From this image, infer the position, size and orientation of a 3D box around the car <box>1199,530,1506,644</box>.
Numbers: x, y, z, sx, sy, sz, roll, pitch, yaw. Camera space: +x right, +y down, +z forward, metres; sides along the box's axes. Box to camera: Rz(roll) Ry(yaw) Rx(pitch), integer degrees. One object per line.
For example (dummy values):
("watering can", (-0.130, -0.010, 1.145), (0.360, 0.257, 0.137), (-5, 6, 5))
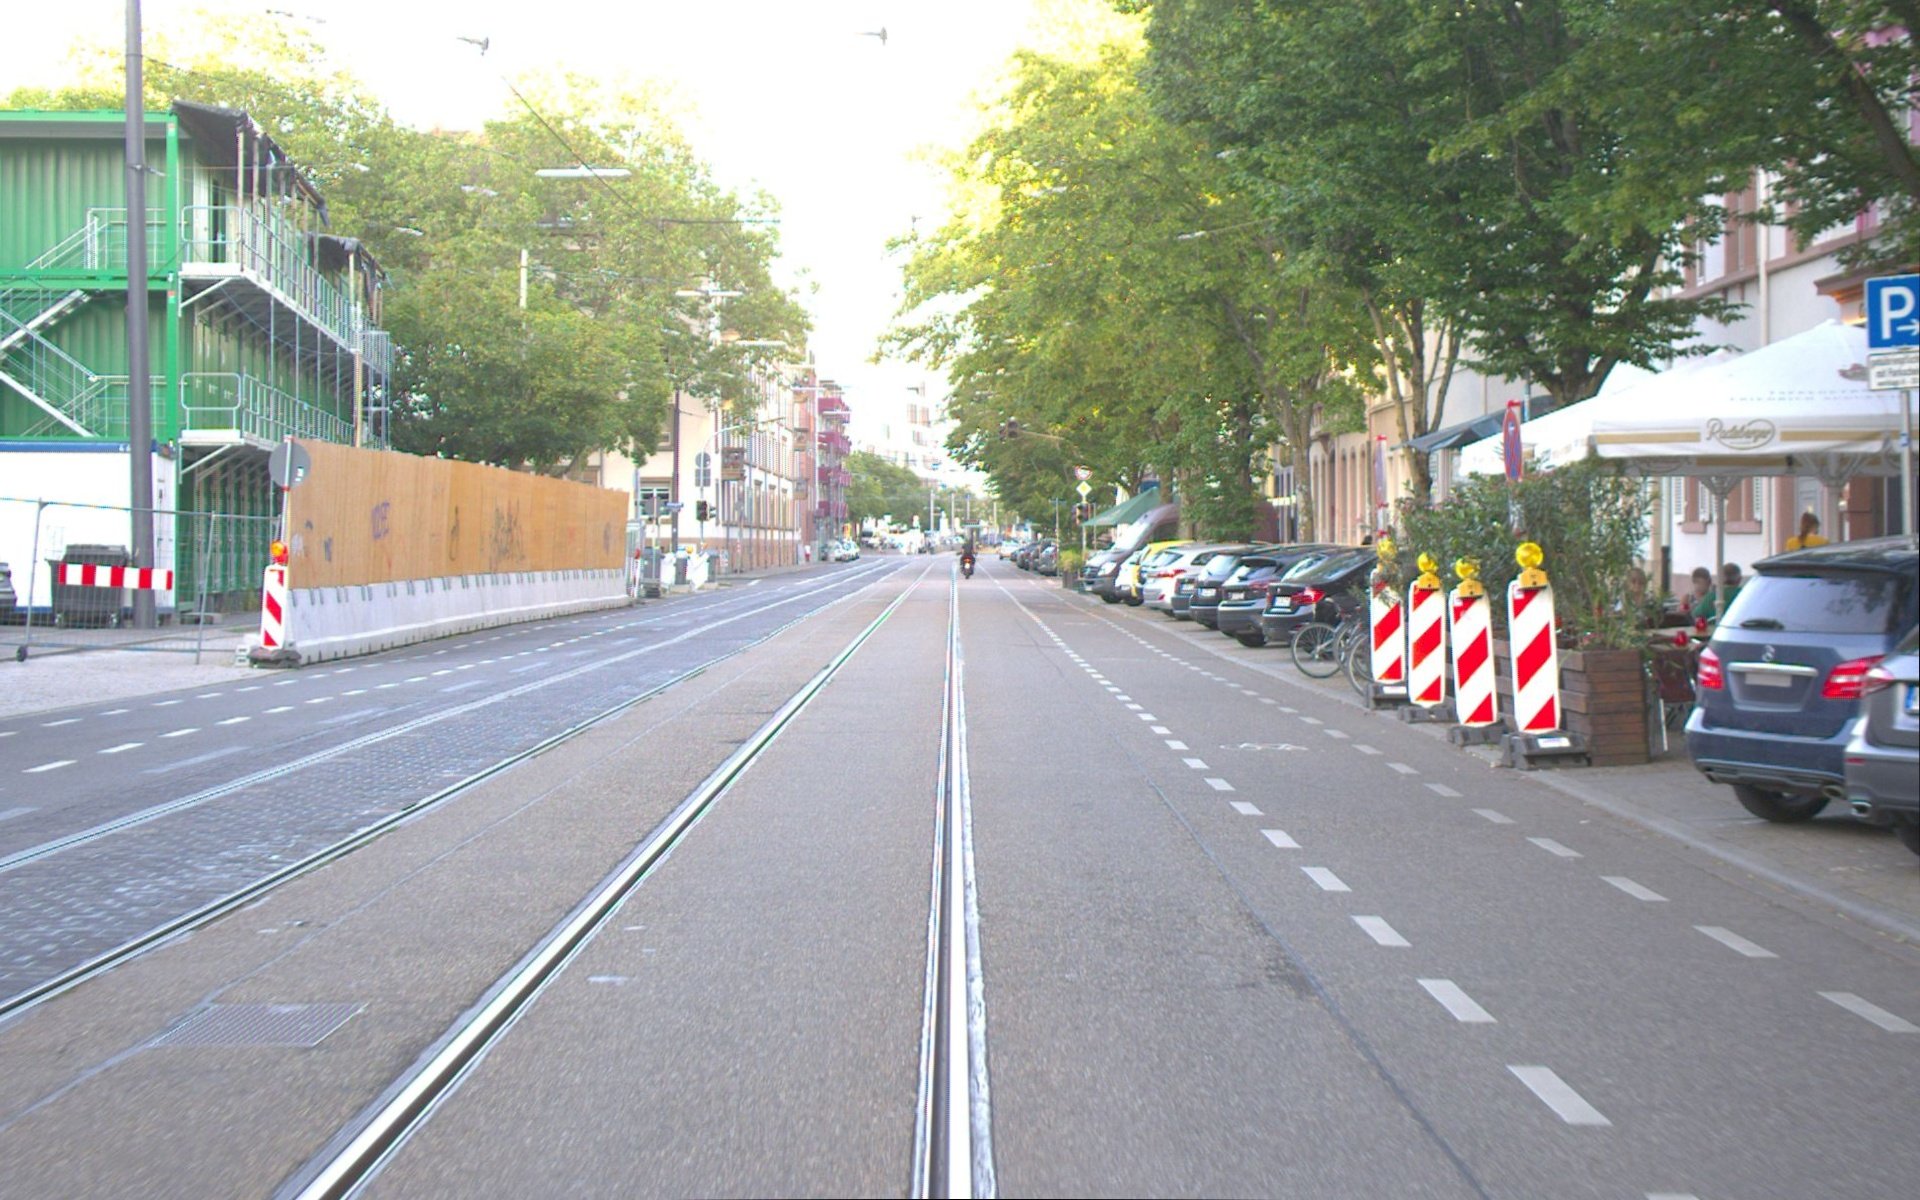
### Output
("car", (5.850, -0.210, 51.332), (4.115, 1.465, 1.824), (-3, 1, -16))

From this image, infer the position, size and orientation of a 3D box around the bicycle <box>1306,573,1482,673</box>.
("bicycle", (4.972, 0.263, 39.438), (1.903, 1.028, 0.533), (-3, 1, -1))

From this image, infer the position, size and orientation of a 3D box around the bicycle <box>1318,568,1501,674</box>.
("bicycle", (5.018, 0.231, 38.435), (1.886, 1.064, 0.674), (-3, 1, -1))

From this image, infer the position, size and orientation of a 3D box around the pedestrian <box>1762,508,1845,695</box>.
("pedestrian", (8.082, 0.008, 32.966), (0.551, 1.757, 0.894), (1, 1, 0))

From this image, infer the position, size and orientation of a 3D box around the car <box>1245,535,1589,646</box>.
("car", (6.100, -0.129, 45.954), (4.160, 1.421, 1.824), (0, 1, -19))

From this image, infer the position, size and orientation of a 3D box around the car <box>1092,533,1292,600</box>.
("car", (5.327, -0.765, 78.954), (4.120, 1.420, 1.921), (-2, 0, -25))

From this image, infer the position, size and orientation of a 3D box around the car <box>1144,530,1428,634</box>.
("car", (5.352, -0.306, 56.447), (4.115, 1.465, 2.016), (-3, 2, -24))

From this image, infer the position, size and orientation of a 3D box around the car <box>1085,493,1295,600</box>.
("car", (6.080, -1.419, 91.111), (5.093, 2.633, 2.022), (-2, 1, -16))

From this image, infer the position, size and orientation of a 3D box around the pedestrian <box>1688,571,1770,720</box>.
("pedestrian", (6.750, 0.397, 30.195), (0.598, 1.288, 0.504), (1, 1, 2))

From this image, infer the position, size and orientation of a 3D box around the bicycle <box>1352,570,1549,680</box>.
("bicycle", (5.061, 0.252, 35.516), (1.886, 1.028, 0.608), (-3, 1, -1))

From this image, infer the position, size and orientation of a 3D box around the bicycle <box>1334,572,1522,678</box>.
("bicycle", (5.018, 0.262, 36.921), (1.886, 1.028, 0.608), (-3, 1, -1))

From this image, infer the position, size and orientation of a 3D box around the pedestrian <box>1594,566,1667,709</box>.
("pedestrian", (6.141, 0.337, 31.501), (0.502, 1.288, 0.600), (0, 1, -5))

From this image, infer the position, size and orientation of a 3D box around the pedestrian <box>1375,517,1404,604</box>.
("pedestrian", (8.921, -0.816, 71.447), (0.566, 1.808, 0.607), (0, 1, 5))

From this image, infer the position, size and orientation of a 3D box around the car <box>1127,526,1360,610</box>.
("car", (5.674, -0.645, 68.989), (4.249, 1.543, 2.020), (-2, 1, -10))

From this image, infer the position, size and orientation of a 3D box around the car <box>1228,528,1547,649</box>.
("car", (6.026, -0.182, 48.607), (3.948, 1.465, 2.002), (-3, 1, -16))

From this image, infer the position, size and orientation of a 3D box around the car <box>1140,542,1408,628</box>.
("car", (5.547, -0.278, 60.770), (4.249, 1.387, 2.016), (-2, 1, -23))

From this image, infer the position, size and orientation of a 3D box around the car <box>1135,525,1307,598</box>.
("car", (6.240, -0.913, 82.494), (3.950, 1.614, 1.921), (-2, 0, 1))

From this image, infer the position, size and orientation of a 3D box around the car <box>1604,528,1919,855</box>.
("car", (5.584, 0.383, 18.258), (3.961, 1.548, 1.706), (-2, 1, -25))

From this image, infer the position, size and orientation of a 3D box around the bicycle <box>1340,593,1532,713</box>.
("bicycle", (4.488, 0.494, 32.484), (1.678, 1.028, 0.557), (-3, 1, -1))

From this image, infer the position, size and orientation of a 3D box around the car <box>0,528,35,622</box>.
("car", (-16.475, -0.460, 52.823), (3.998, 1.398, 1.735), (3, 1, 15))

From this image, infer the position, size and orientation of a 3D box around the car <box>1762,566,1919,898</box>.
("car", (5.753, 0.509, 15.744), (3.772, 1.403, 1.706), (-2, 1, -25))

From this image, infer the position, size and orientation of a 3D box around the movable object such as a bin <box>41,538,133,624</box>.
("movable object such as a bin", (-13.911, -0.310, 54.809), (1.306, 1.365, 0.784), (0, 1, -3))

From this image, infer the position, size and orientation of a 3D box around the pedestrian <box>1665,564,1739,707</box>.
("pedestrian", (6.807, 0.320, 31.564), (0.502, 1.288, 0.600), (1, 1, -4))

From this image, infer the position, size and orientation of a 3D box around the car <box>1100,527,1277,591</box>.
("car", (5.720, -1.022, 86.238), (3.949, 1.481, 1.921), (-2, 0, -23))
